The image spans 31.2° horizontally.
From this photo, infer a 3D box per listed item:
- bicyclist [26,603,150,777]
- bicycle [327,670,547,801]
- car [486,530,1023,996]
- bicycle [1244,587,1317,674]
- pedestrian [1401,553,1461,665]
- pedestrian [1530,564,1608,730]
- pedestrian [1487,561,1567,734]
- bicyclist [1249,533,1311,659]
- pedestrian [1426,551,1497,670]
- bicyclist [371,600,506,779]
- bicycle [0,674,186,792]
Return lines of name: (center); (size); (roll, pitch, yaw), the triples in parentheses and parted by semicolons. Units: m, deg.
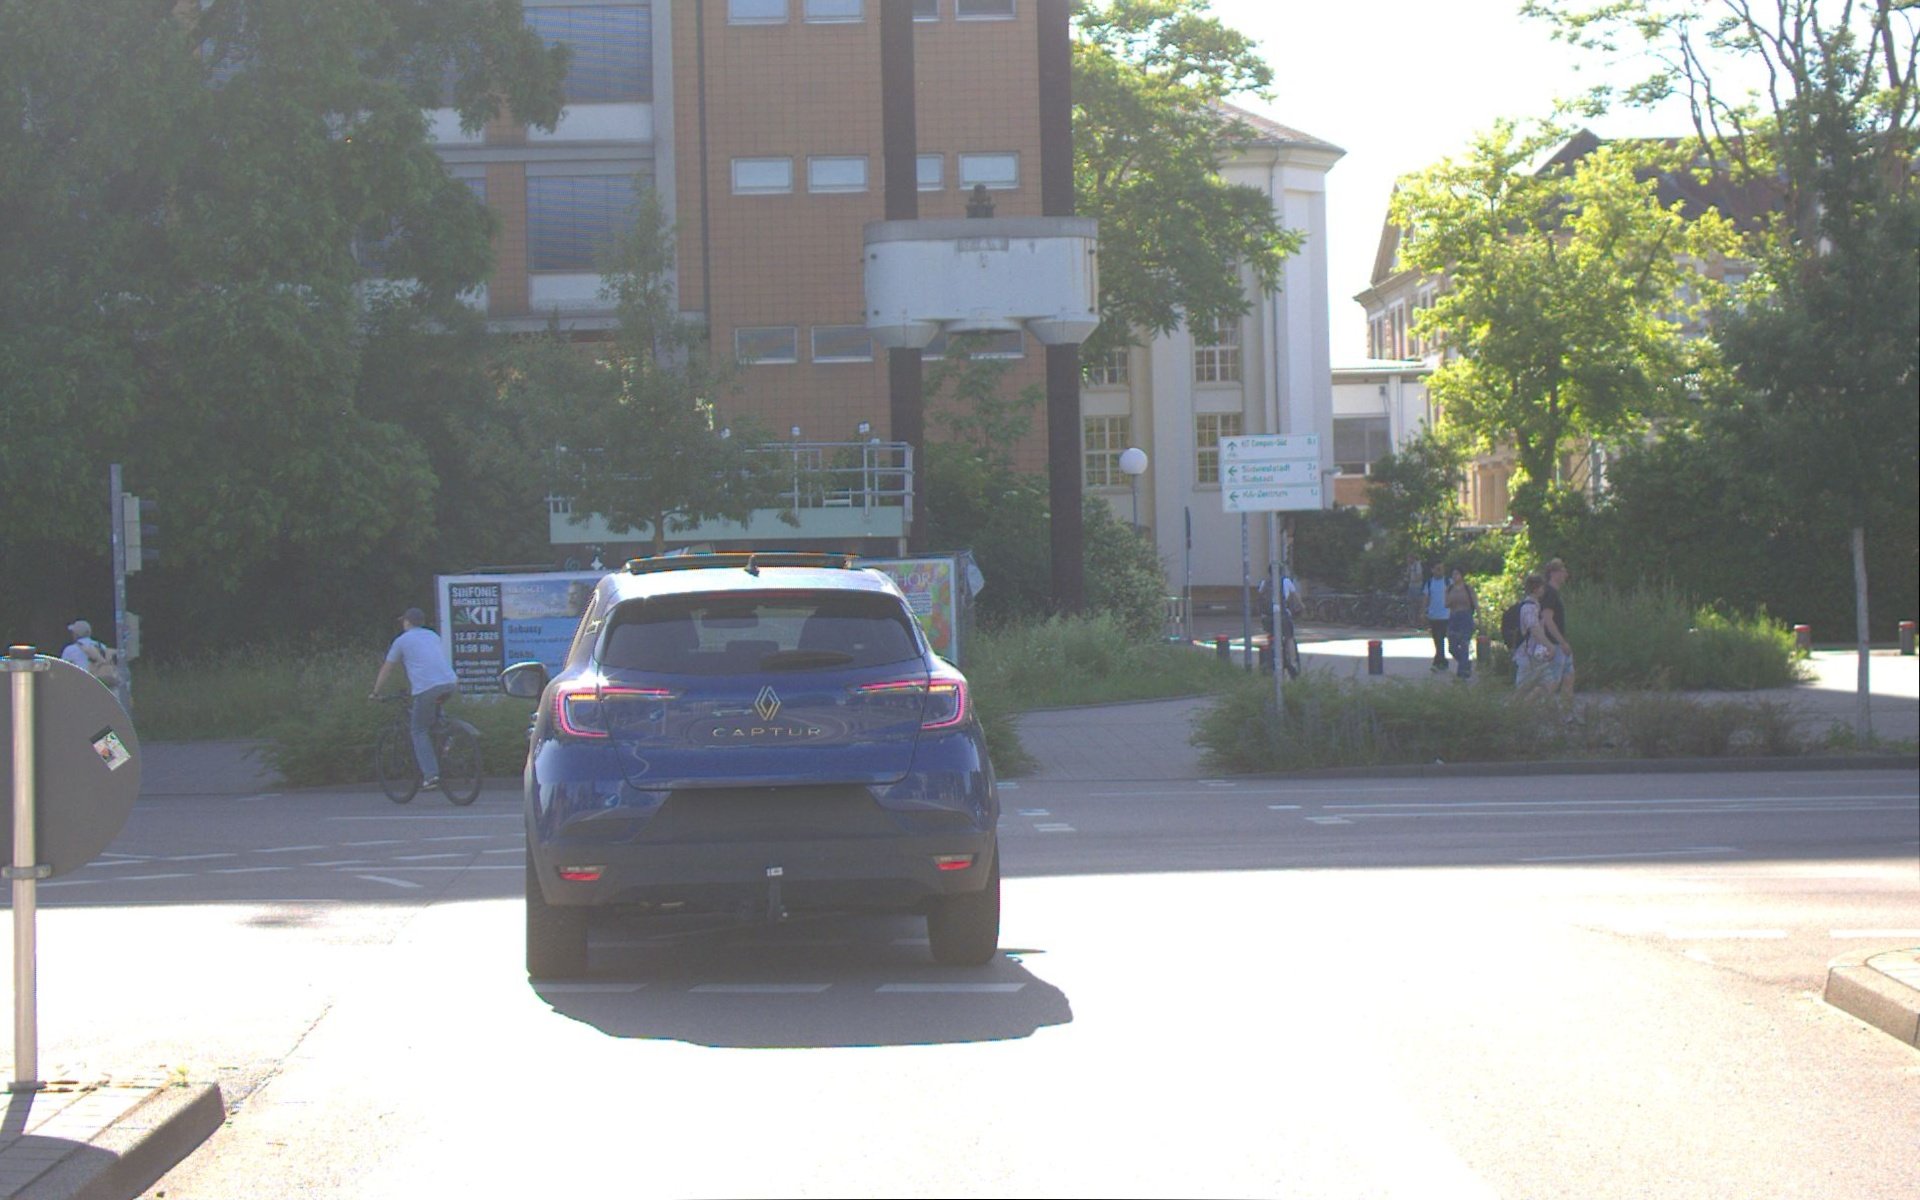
bicyclist: (-9.015, 0.927, 35.532); (0.976, 1.757, 0.721); (-1, 0, 29)
bicycle: (-4.834, 1.247, 31.767); (1.866, 1.161, 0.718); (-1, 0, 18)
car: (-0.888, 0.560, 14.205); (1.876, 1.612, 3.798); (-2, 1, -5)
bicycle: (4.478, 0.413, 47.960); (0.746, 1.161, 1.869); (-1, 0, 13)
pedestrian: (6.961, 0.132, 50.806); (0.676, 1.637, 0.735); (1, 0, 26)
pedestrian: (6.624, 0.505, 37.380); (0.734, 1.776, 0.731); (1, 0, 16)
pedestrian: (6.043, 0.501, 36.640); (0.734, 1.810, 0.731); (1, 0, 16)
bicyclist: (4.463, -0.057, 47.904); (0.720, 1.729, 0.977); (-1, 0, 12)
pedestrian: (6.984, 0.139, 47.839); (0.677, 1.637, 0.734); (1, 0, 39)
bicyclist: (-4.818, 0.822, 31.754); (0.975, 1.611, 0.721); (-1, 0, 19)
bicycle: (-8.988, 1.364, 35.525); (1.867, 1.161, 0.747); (-1, 0, 28)
